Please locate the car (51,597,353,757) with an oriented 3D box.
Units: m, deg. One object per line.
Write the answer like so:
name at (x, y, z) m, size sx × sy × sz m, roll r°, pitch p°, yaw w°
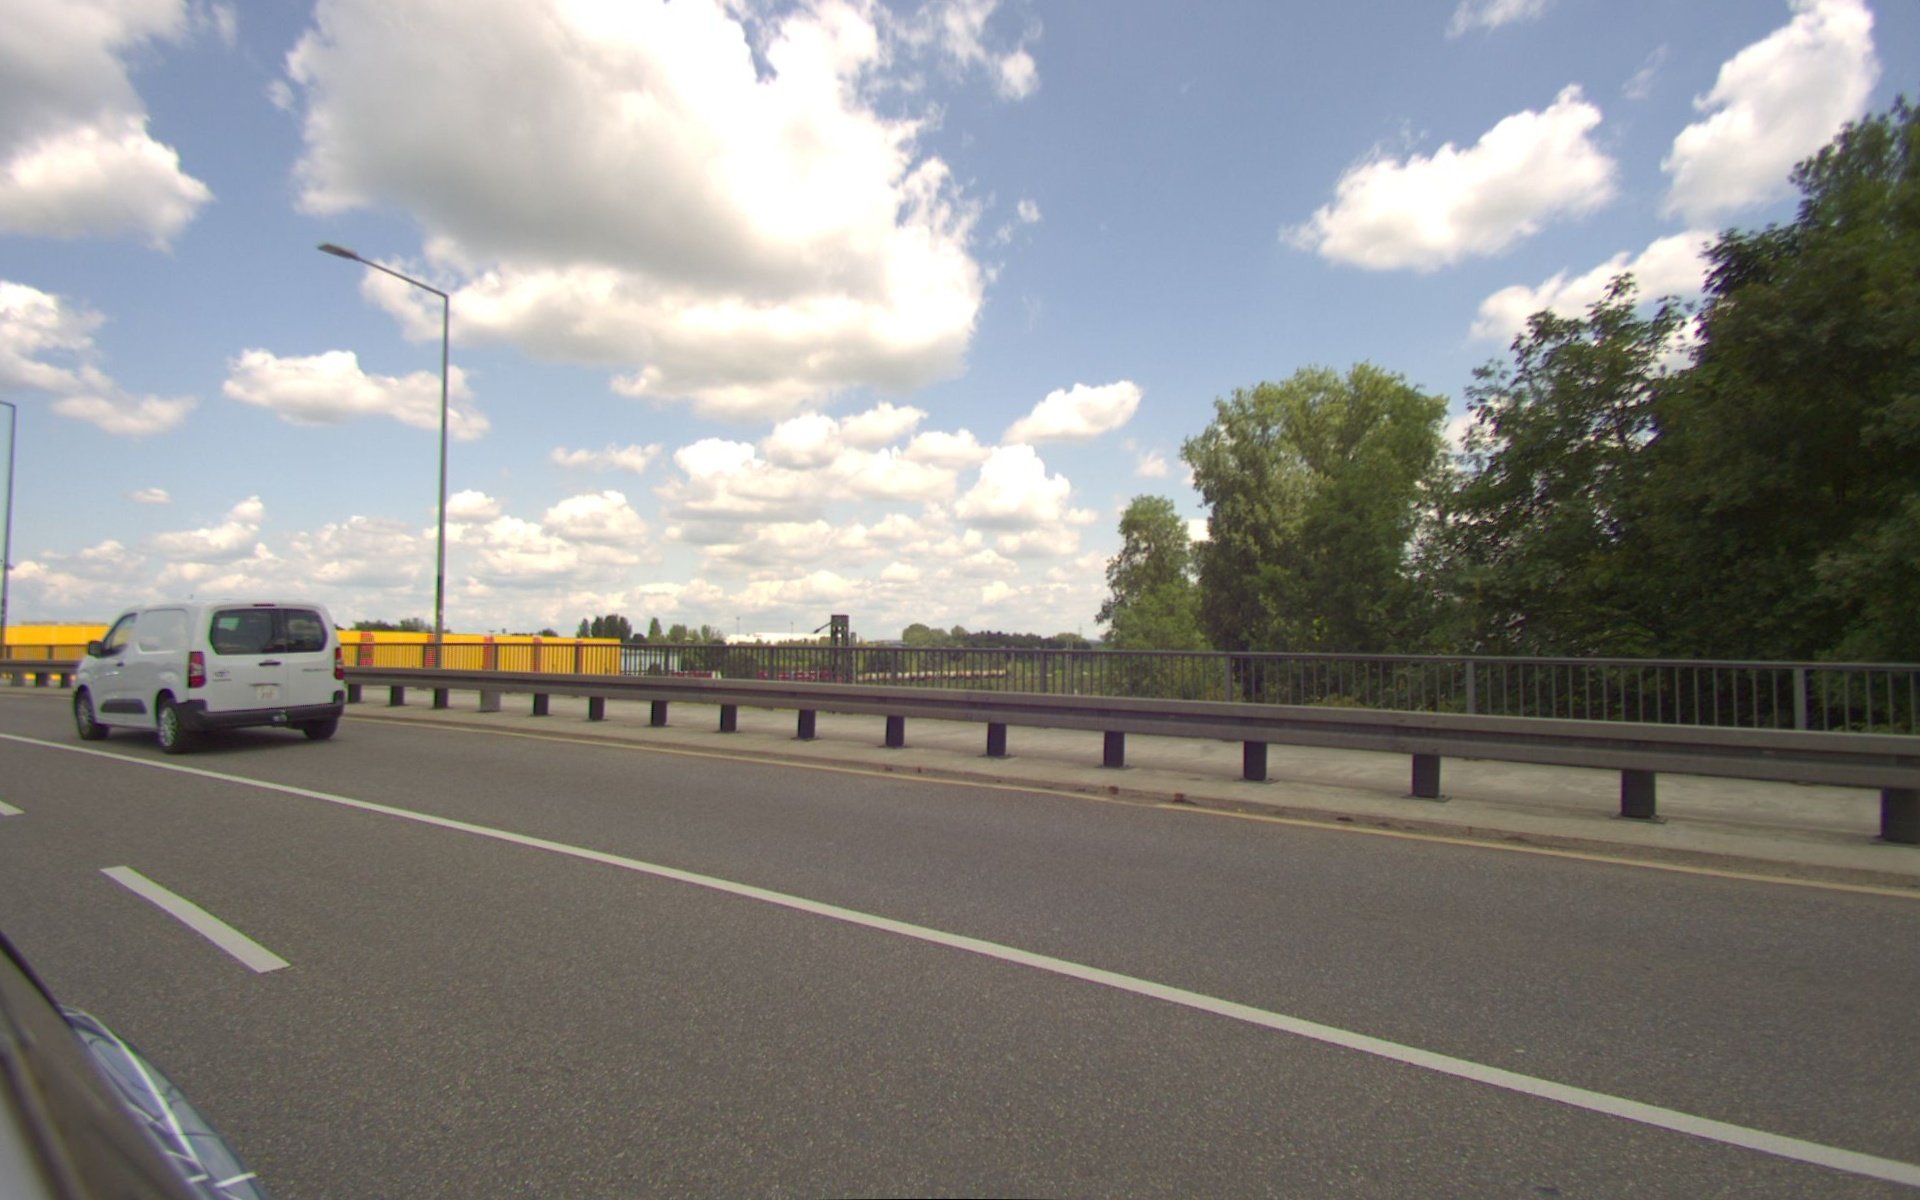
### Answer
car at (-9.901, 0.919, 13.131) m, size 4.293 × 1.767 × 1.798 m, roll -2°, pitch -2°, yaw 33°
